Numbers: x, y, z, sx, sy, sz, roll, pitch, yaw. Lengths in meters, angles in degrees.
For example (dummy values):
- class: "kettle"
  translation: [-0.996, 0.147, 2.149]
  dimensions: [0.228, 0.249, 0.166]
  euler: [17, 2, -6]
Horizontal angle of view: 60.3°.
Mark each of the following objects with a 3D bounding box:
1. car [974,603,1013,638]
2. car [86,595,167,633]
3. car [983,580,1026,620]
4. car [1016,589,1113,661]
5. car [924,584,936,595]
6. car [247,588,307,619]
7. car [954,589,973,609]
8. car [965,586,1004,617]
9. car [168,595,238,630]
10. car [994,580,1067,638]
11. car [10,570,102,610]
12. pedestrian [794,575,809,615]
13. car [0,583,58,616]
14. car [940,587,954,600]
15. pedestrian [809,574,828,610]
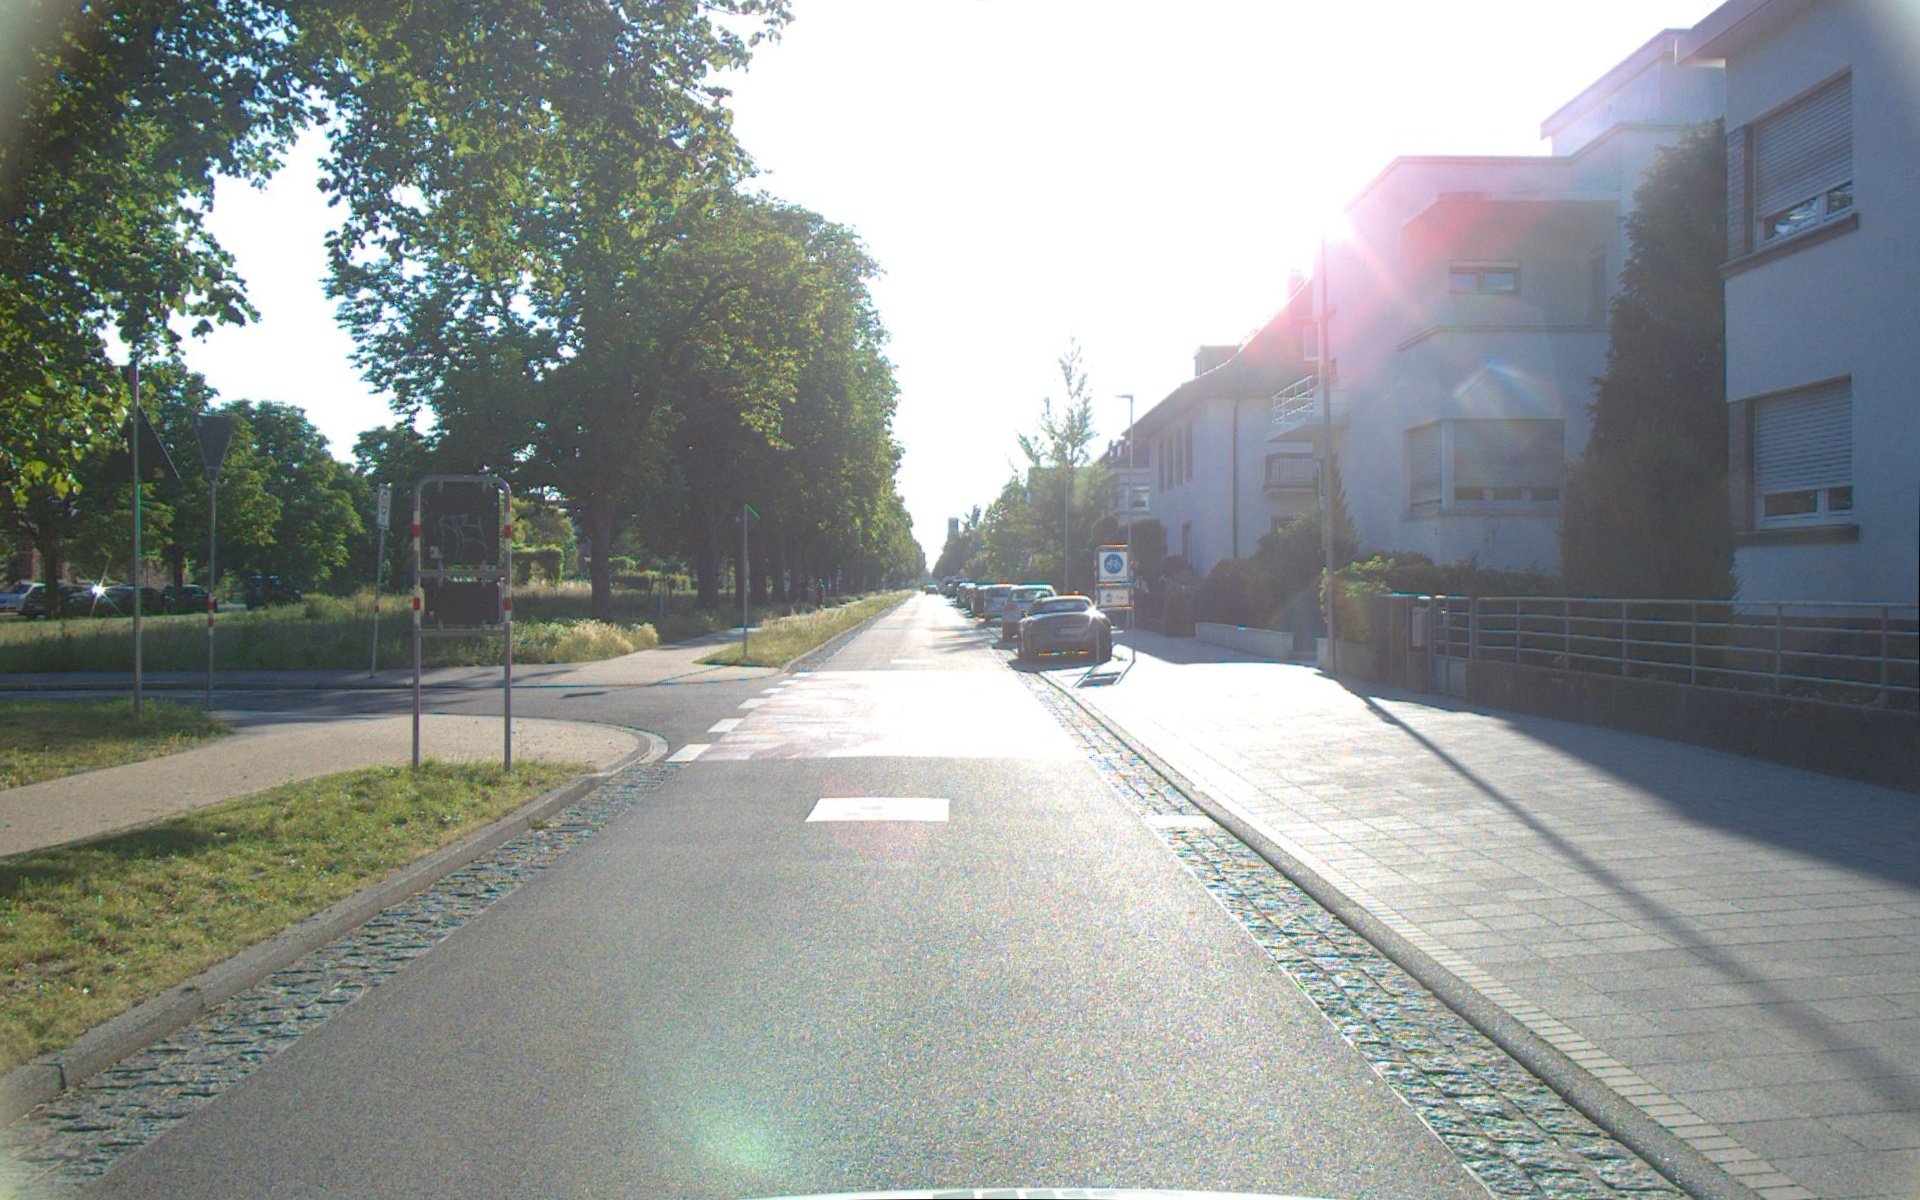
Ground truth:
- class: "car"
  translation: [1.558, 0.911, 75.852]
  dimensions: [1.623, 1.520, 3.717]
  euler: [-1, 0, 3]
- class: "car"
  translation: [-38.220, 0.624, 75.956]
  dimensions: [1.658, 1.625, 4.220]
  euler: [0, 1, -2]
- class: "car"
  translation: [1.789, -0.018, 67.185]
  dimensions: [1.594, 1.531, 3.633]
  euler: [-2, 1, 0]
- class: "car"
  translation: [2.212, 0.497, 35.908]
  dimensions: [1.738, 1.311, 4.272]
  euler: [-3, 1, -1]
- class: "car"
  translation: [-4.437, -1.596, 245.470]
  dimensions: [1.618, 1.568, 3.266]
  euler: [1, 0, -1]
- class: "car"
  translation: [-38.128, 0.181, 92.429]
  dimensions: [1.658, 1.625, 4.220]
  euler: [0, 1, -2]
- class: "car"
  translation: [0.278, -0.093, 134.535]
  dimensions: [1.467, 1.594, 3.266]
  euler: [0, 0, 0]
- class: "car"
  translation: [1.230, 0.088, 83.587]
  dimensions: [1.702, 1.474, 4.195]
  euler: [-1, 0, -2]
- class: "car"
  translation: [-37.654, 0.592, 82.399]
  dimensions: [1.658, 1.625, 4.220]
  euler: [0, 1, -2]
- class: "car"
  translation: [1.966, 0.215, 47.206]
  dimensions: [1.709, 1.500, 3.921]
  euler: [-3, 1, -2]
- class: "car"
  translation: [-38.296, -0.422, 70.160]
  dimensions: [1.658, 1.625, 4.220]
  euler: [0, 1, -2]
- class: "pedestrian"
  translation: [-7.438, -0.231, 77.637]
  dimensions: [0.611, 1.863, 0.886]
  euler: [0, 0, 2]
- class: "car"
  translation: [-43.322, -0.037, 76.022]
  dimensions: [1.596, 1.430, 3.999]
  euler: [0, 1, -1]
- class: "car"
  translation: [-1.524, -0.773, 197.186]
  dimensions: [1.618, 1.568, 3.266]
  euler: [1, 0, 0]
- class: "pedestrian"
  translation: [-6.664, -0.384, 77.921]
  dimensions: [0.767, 1.643, 0.952]
  euler: [0, 0, 2]
